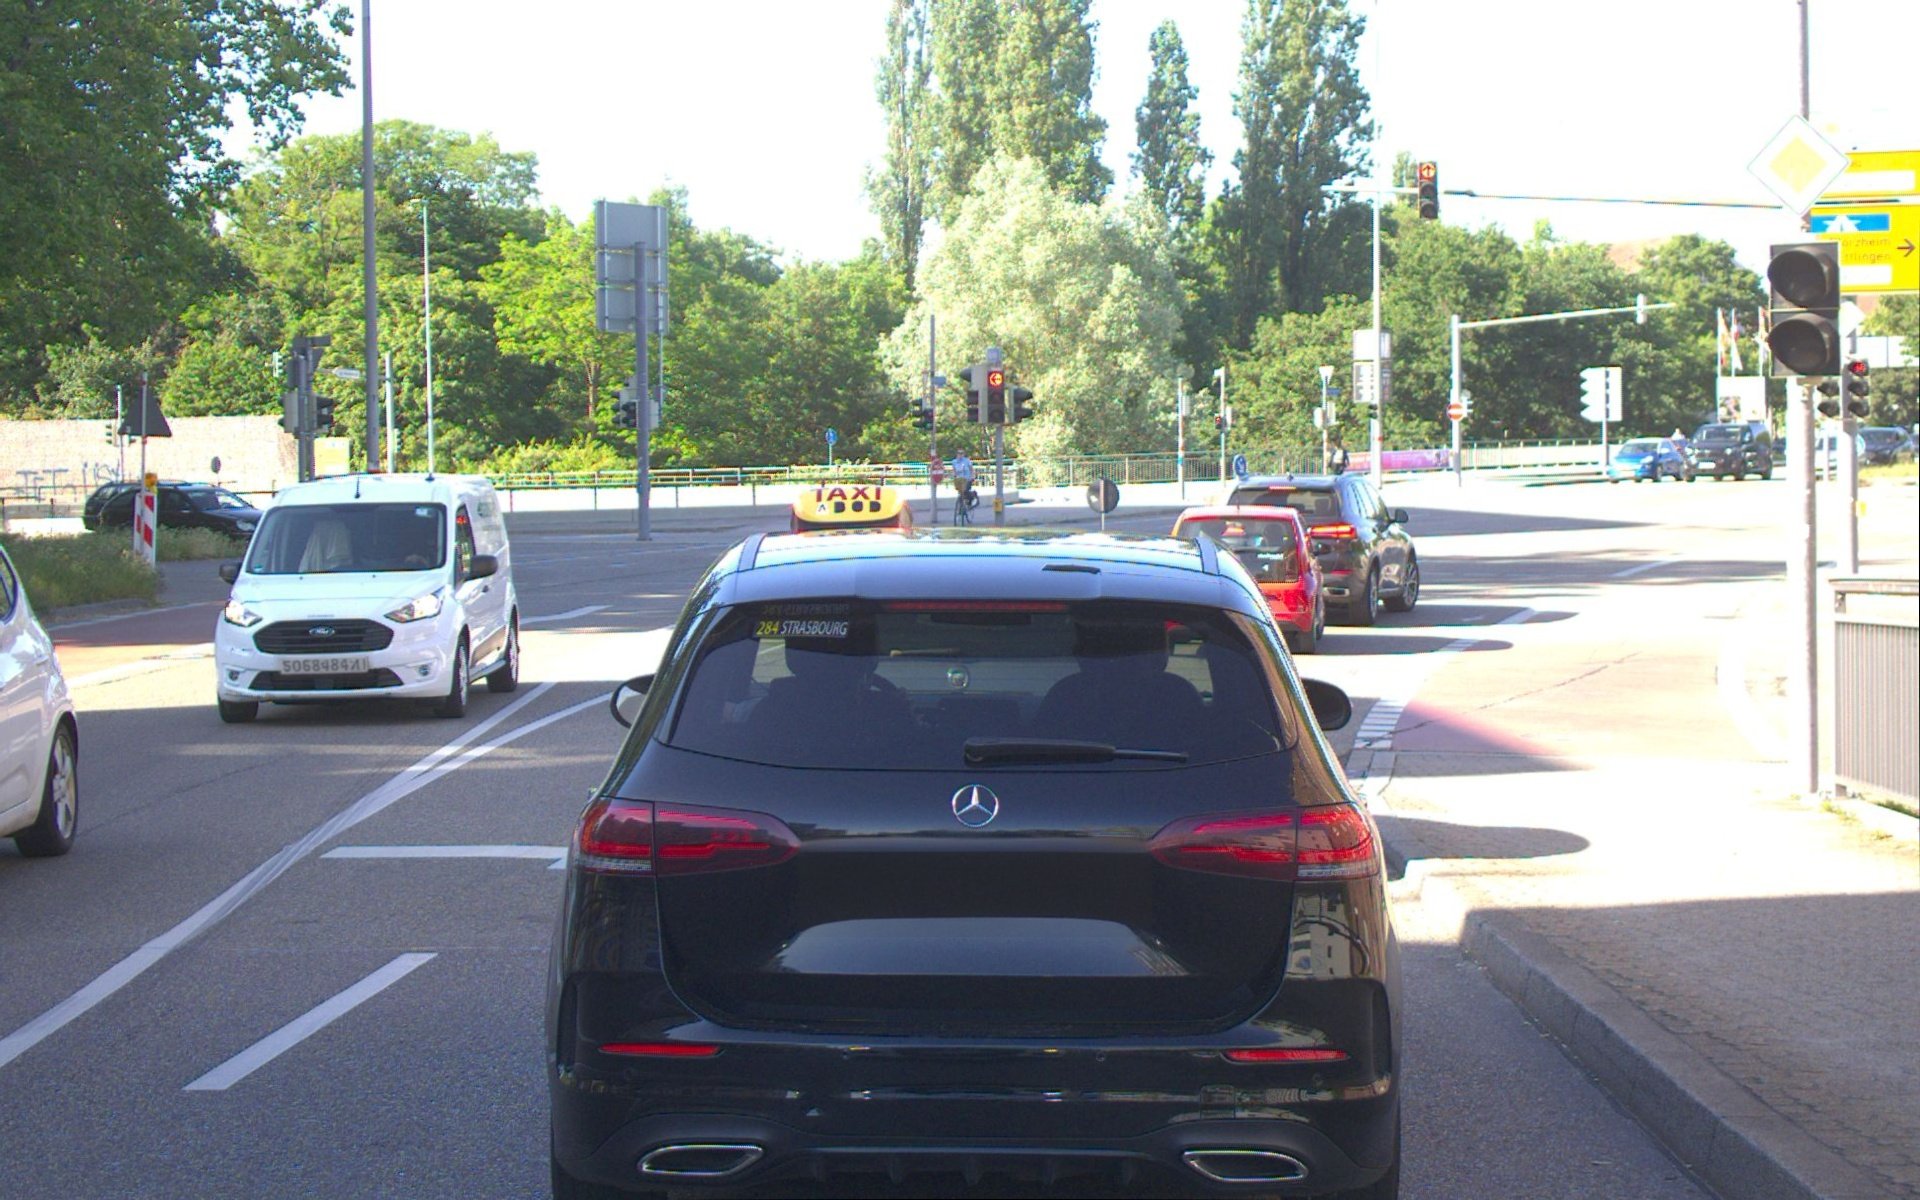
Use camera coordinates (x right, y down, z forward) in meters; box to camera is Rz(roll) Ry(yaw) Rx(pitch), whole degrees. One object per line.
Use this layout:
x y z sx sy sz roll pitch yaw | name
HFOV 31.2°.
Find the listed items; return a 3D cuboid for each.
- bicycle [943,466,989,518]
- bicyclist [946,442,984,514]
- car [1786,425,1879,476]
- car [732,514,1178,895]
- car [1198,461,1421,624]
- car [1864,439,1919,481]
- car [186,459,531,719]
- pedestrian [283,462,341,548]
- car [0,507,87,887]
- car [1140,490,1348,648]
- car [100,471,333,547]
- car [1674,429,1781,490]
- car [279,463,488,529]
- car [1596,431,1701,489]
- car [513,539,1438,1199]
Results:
0.158 -2.645 83.861 0.687 1.198 2.326 -1 3 10 | bicycle
0.124 -2.979 83.704 0.687 1.695 1.197 -1 3 10 | bicyclist
28.315 -4.868 111.446 1.823 1.577 4.097 1 3 31 | car
0.004 0.385 16.242 1.820 1.484 4.001 -1 2 1 | car
4.285 -0.755 41.586 1.870 1.784 4.411 2 3 16 | car
34.242 -5.048 124.240 1.997 1.448 3.993 2 2 30 | car
-4.562 -0.181 26.832 1.810 1.795 5.121 -1 2 -1 | car
-12.156 -1.778 64.538 0.687 1.533 1.366 1 -1 5 | pedestrian
-4.942 0.413 14.319 1.820 1.598 4.001 0 1 -4 | car
3.037 -0.374 36.130 1.821 1.474 3.999 2 3 9 | car
-14.843 -1.814 68.616 4.444 1.433 1.823 1 3 30 | car
25.086 -4.595 112.264 1.997 1.928 4.844 1 3 31 | car
-13.156 -2.367 78.395 4.442 1.433 1.824 0 3 26 | car
23.294 -4.743 116.209 1.997 1.858 4.844 1 3 31 | car
0.006 0.606 8.522 1.751 1.488 4.000 0 1 -1 | car
